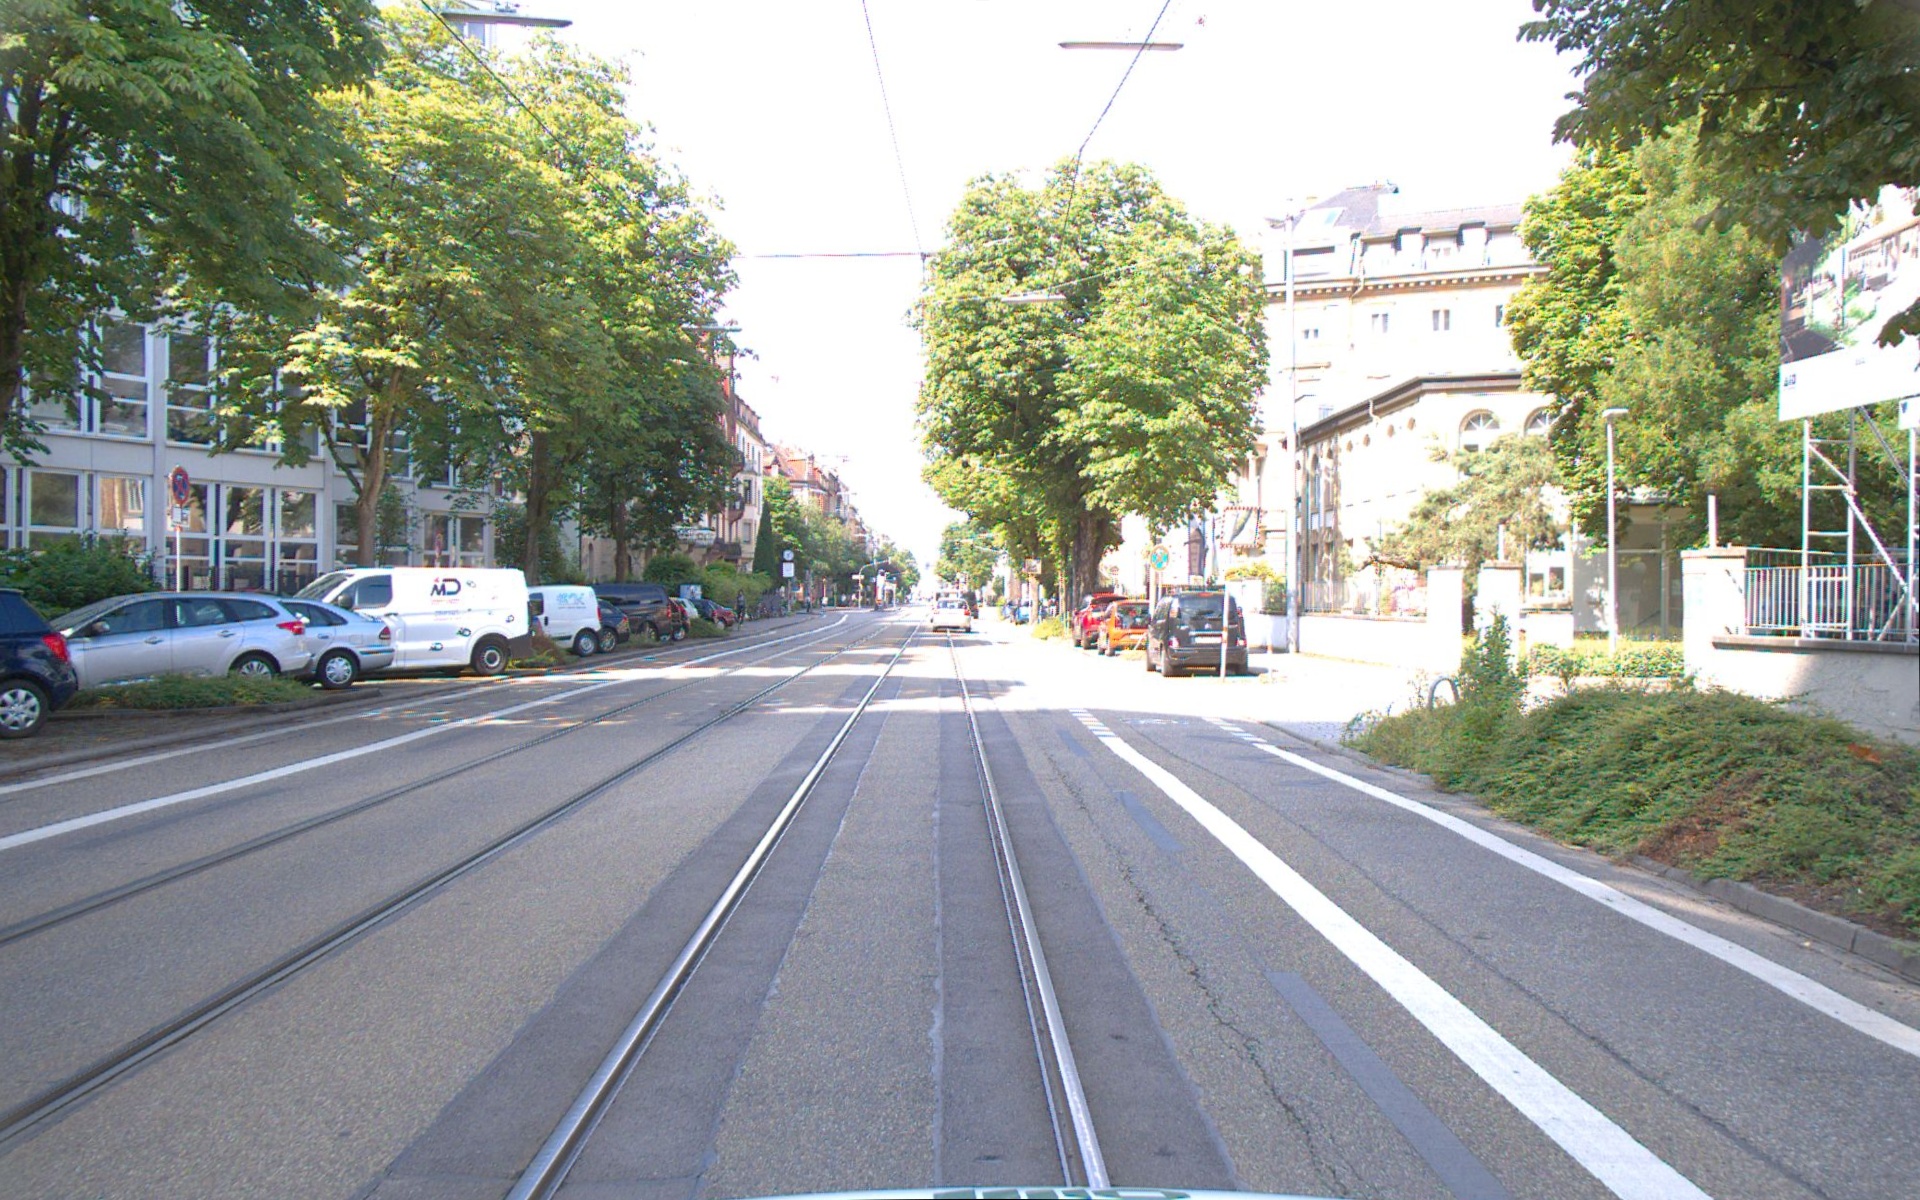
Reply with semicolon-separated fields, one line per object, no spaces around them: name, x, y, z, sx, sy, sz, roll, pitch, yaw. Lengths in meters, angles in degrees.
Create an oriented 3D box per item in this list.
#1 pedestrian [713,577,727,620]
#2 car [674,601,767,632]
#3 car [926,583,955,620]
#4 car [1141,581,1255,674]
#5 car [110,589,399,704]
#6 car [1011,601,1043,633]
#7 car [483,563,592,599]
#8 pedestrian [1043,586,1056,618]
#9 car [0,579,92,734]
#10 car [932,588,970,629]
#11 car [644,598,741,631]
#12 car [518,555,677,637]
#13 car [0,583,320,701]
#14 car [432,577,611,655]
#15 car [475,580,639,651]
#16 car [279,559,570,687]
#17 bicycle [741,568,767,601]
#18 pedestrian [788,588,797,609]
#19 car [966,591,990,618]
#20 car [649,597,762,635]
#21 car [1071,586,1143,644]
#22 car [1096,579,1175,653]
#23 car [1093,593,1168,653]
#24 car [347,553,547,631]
pedestrian;-11.505;-0.082;79.296;0.603;2.049;0.501;1;0;-2
car;-10.425;0.720;72.146;3.750;1.329;1.615;1;0;-40
car;-1.137;0.065;95.297;1.588;2.035;3.564;1;0;-1
car;4.671;0.501;32.895;1.640;1.639;3.584;-2;1;-1
car;-10.882;0.660;25.657;3.756;1.501;1.698;-3;2;-44
car;3.810;0.932;94.012;1.588;1.713;3.564;1;0;-1
car;-16.249;-0.723;63.696;3.750;1.329;1.615;1;0;-40
pedestrian;5.795;0.140;107.086;0.744;2.049;0.764;1;0;1
car;-10.692;0.528;15.778;3.968;1.488;1.732;1;0;-44
car;-0.408;0.330;71.447;1.588;1.713;3.564;1;0;-1
car;-11.236;0.611;69.534;3.750;1.329;1.615;1;0;-40
car;-10.699;-0.083;48.980;1.852;2.117;4.176;4;0;43
car;-11.106;0.519;22.178;1.709;1.451;4.435;0;0;42
car;-10.386;0.364;39.326;1.851;1.742;3.734;1;0;43
car;-10.359;0.390;42.677;1.851;1.742;3.734;1;0;43
car;-9.633;0.345;29.981;4.605;1.945;1.902;-5;3;-43
bicycle;-11.332;-0.850;90.936;0.919;1.777;2.285;1;0;5
pedestrian;-16.796;-0.172;166.107;0.868;2.049;0.786;1;0;-10
car;1.276;0.319;117.699;1.588;1.881;3.564;1;0;-1
car;-9.155;0.571;59.577;3.750;1.329;1.615;1;0;-40
car;4.542;0.436;51.681;1.919;1.735;4.000;1;0;1
car;4.636;0.392;44.081;1.640;1.639;3.585;-2;4;-1
car;4.536;0.598;44.471;1.633;1.512;3.279;-1;0;0
car;-10.585;-0.154;34.254;1.730;1.527;3.616;0;0;41
